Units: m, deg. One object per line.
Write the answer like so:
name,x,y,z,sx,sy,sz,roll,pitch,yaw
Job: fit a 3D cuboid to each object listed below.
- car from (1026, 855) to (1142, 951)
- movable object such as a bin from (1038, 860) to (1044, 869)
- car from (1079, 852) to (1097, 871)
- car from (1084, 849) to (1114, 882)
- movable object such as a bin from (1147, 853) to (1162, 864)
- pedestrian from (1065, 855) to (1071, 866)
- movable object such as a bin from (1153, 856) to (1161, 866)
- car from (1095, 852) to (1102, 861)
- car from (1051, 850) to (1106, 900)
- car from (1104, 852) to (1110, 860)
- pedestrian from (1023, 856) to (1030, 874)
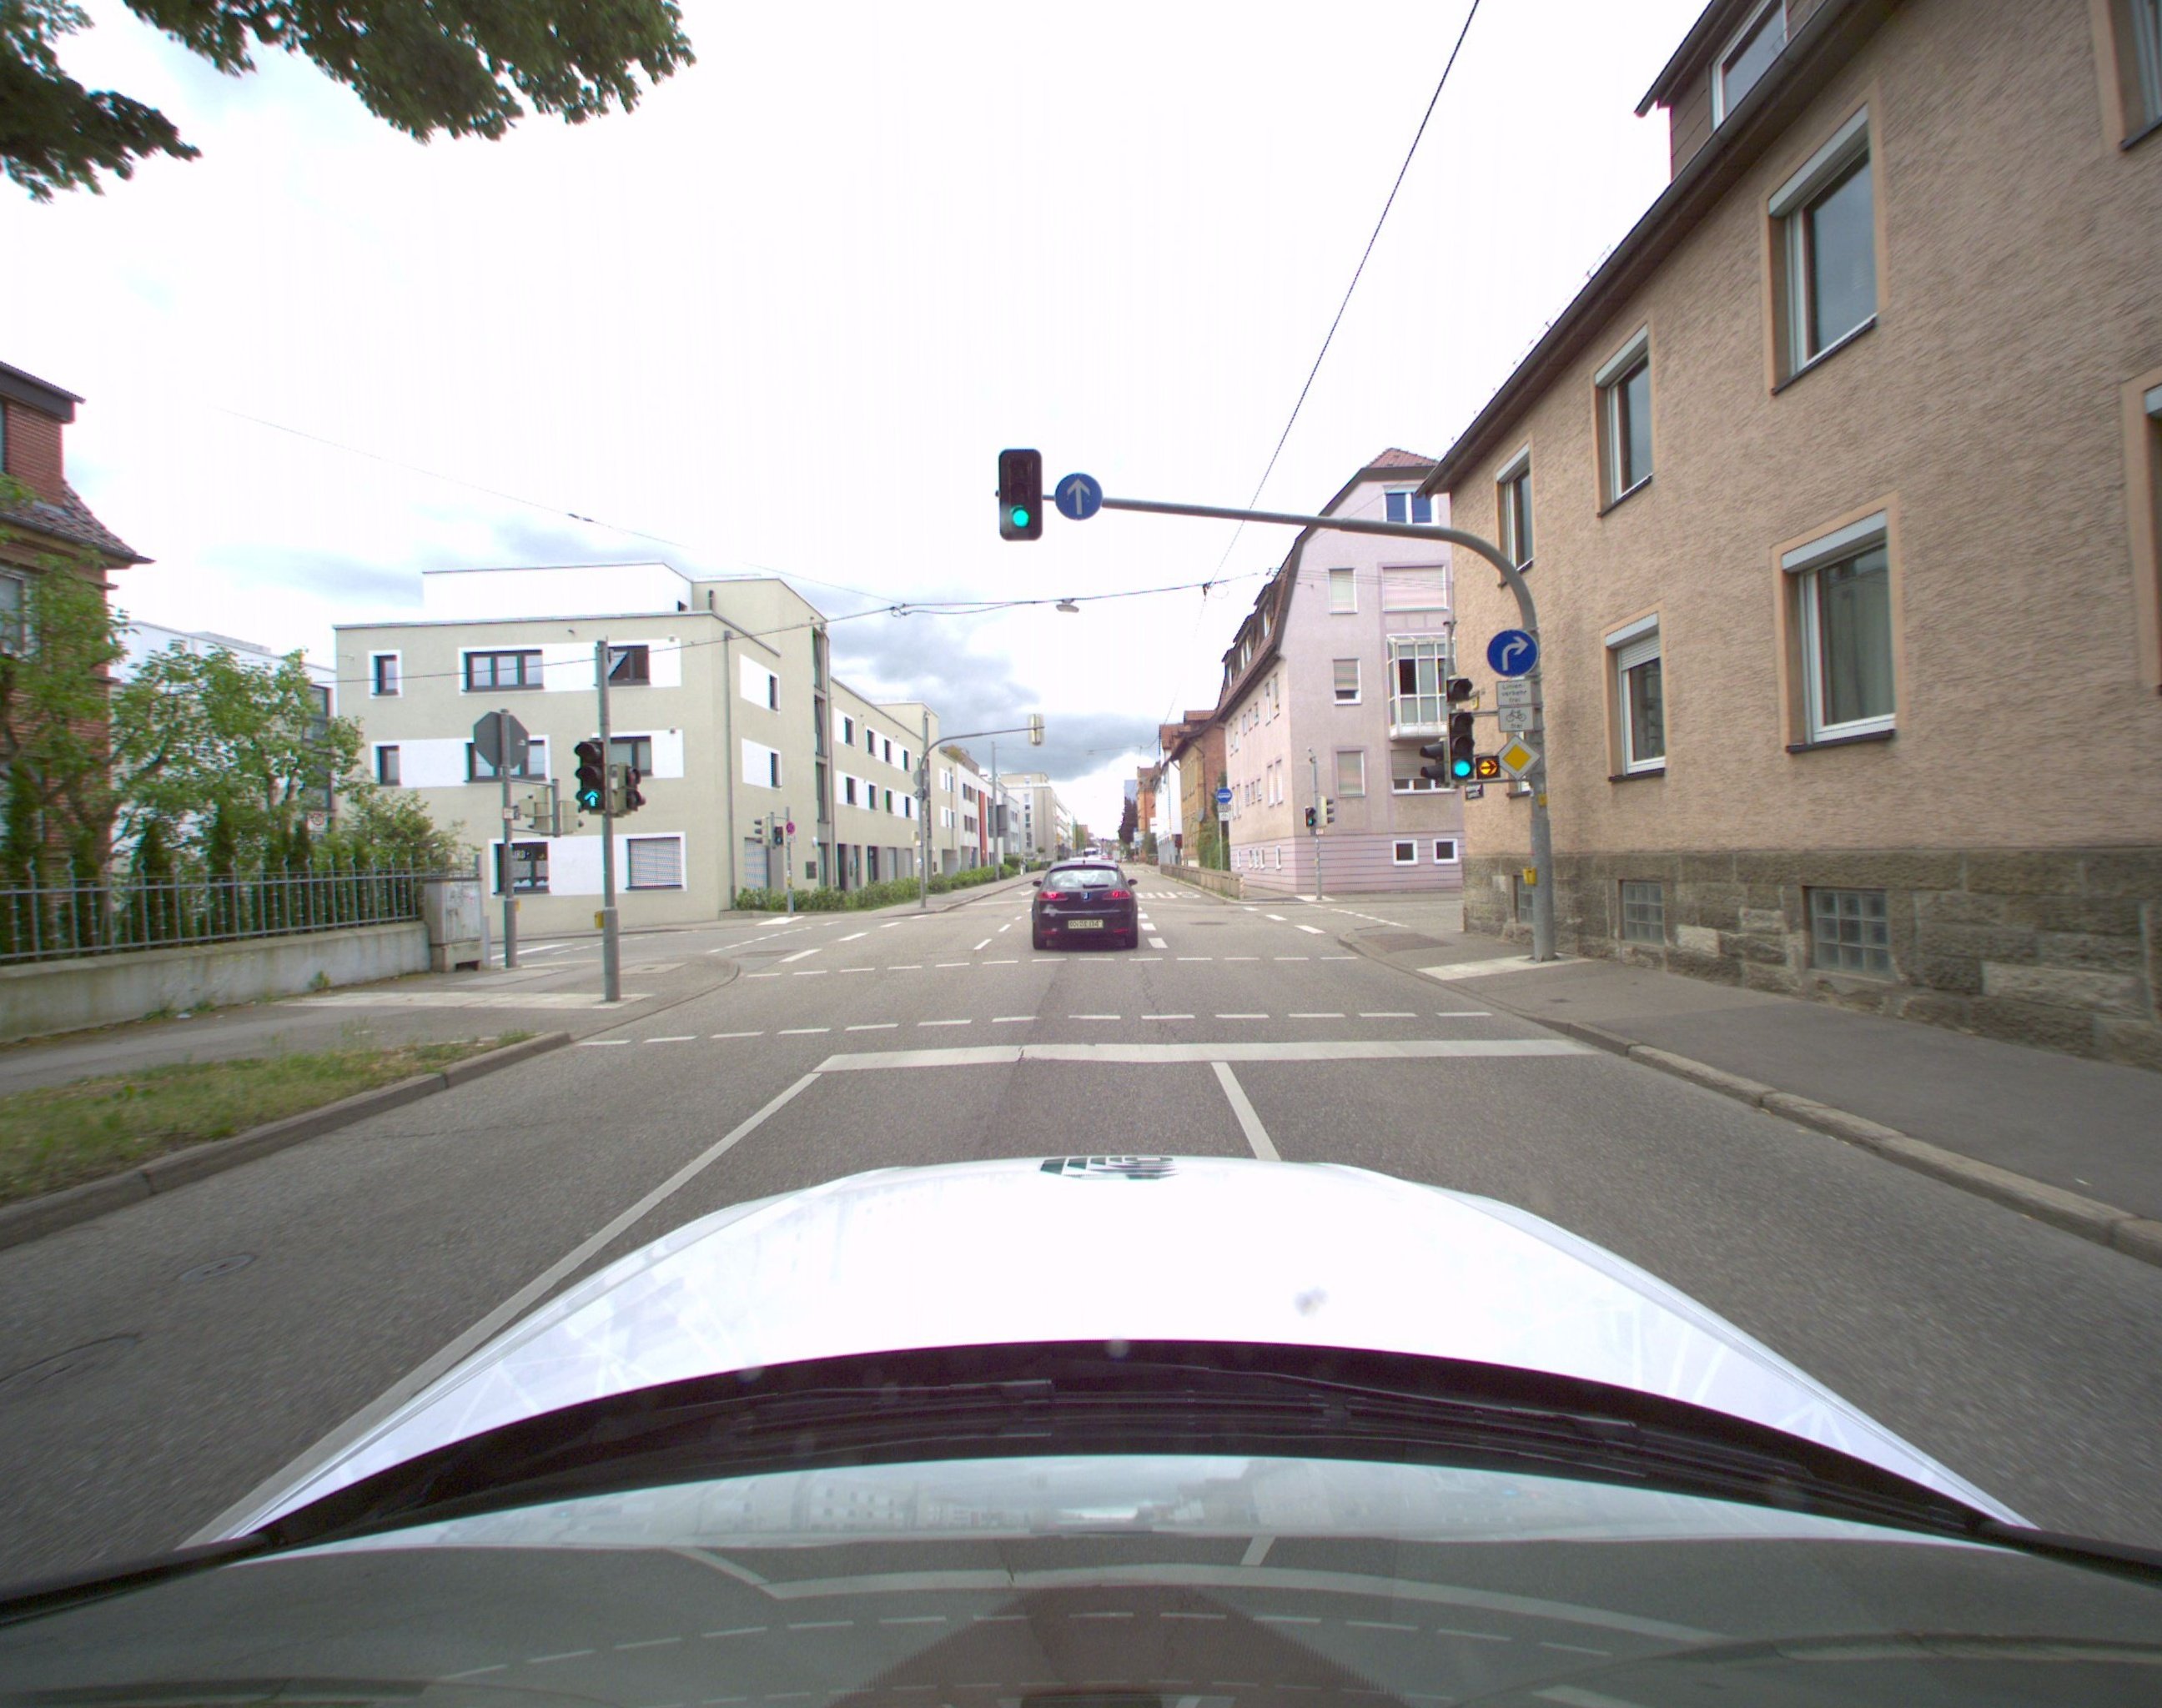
car,0.106,0.773,14.553,1.752,1.442,4.001,-1,-1,2
movable object such as a bin,-4.481,1.163,91.551,0.547,1.078,0.612,-1,-1,2
car,0.646,0.660,73.552,1.526,1.693,3.694,-1,-1,1
car,0.990,0.609,44.082,1.526,1.693,3.694,-1,-1,1
movable object such as a bin,9.781,0.593,108.538,1.811,1.437,1.994,-1,-1,2
pedestrian,-1.989,0.972,124.574,0.728,1.729,0.859,-1,-1,1
movable object such as a bin,9.685,0.847,104.042,0.925,1.283,0.883,-1,-1,2
car,3.684,0.544,170.614,1.526,1.693,3.694,-2,0,1
car,-0.027,0.735,29.817,1.836,1.693,4.001,-1,-1,1
car,6.276,0.458,197.387,1.526,1.693,3.694,-2,0,1
pedestrian,-4.591,0.943,68.580,0.524,1.548,0.541,-1,-1,1
